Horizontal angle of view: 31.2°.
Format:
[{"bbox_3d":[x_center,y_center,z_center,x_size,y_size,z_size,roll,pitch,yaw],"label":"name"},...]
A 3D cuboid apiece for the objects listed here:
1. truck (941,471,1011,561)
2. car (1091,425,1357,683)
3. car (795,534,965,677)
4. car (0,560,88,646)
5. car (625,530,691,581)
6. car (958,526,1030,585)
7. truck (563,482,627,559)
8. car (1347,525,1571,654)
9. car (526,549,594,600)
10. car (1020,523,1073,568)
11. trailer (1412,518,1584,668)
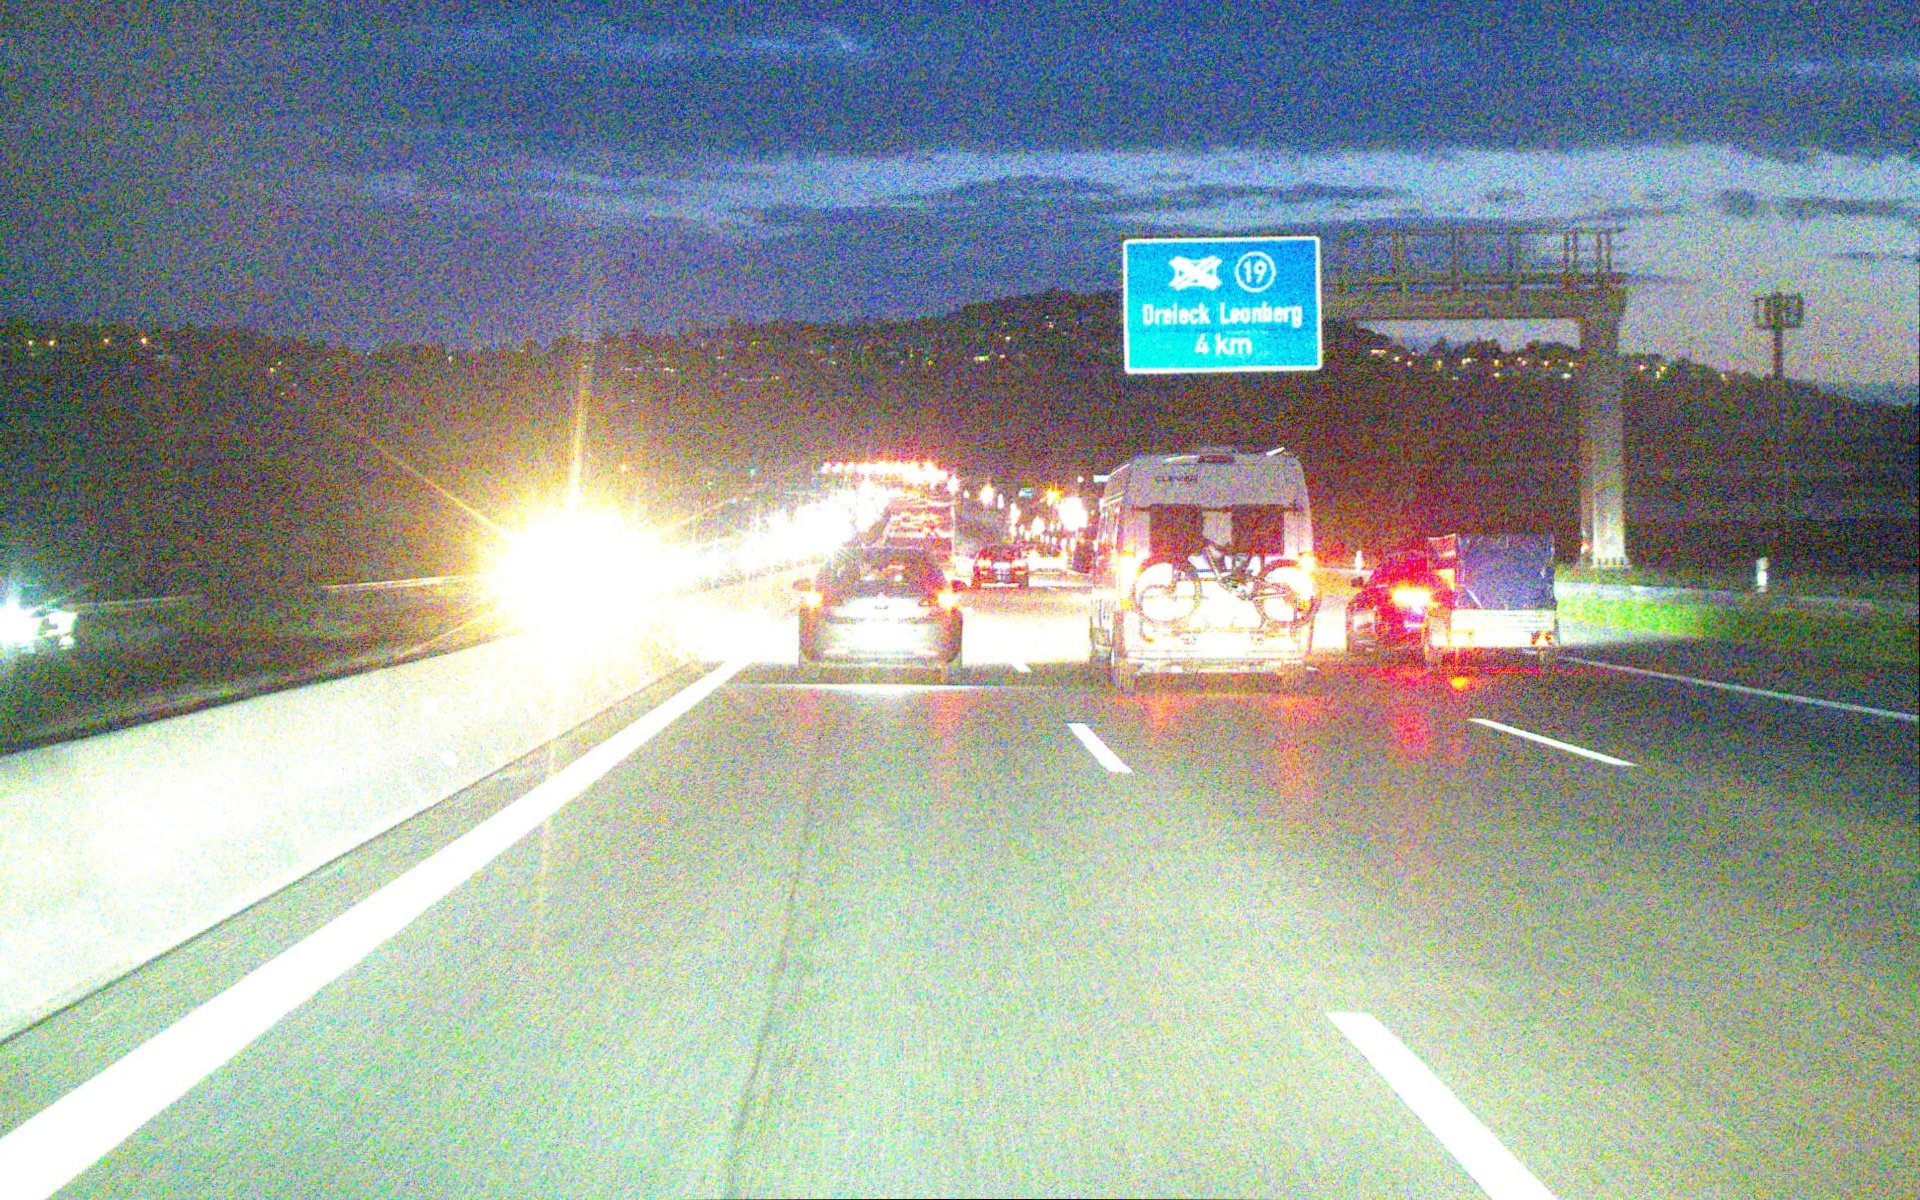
[{"bbox_3d":[0.693,-3.785,156.356,2.781,3.942,7.994,-1,1,-2],"label":"truck"},{"bbox_3d":[2.738,-0.542,37.075,2.351,2.526,5.701,-1,2,0],"label":"car"},{"bbox_3d":[-0.855,0.020,38.147,1.793,1.464,3.773,0,2,0],"label":"car"},{"bbox_3d":[-17.743,0.060,63.559,1.993,1.473,5.045,-3,1,-1],"label":"car"},{"bbox_3d":[-10.007,-1.488,114.138,1.812,1.637,4.158,-1,1,0],"label":"car"},{"bbox_3d":[1.130,-1.533,116.329,2.351,1.907,4.723,-1,1,0],"label":"car"},{"bbox_3d":[-19.335,-4.201,182.381,2.781,3.942,7.994,-1,1,-2],"label":"truck"},{"bbox_3d":[6.342,-0.176,44.237,2.163,1.558,4.723,0,1,0],"label":"car"},{"bbox_3d":[-13.455,-0.879,115.844,1.812,1.637,4.158,-1,1,0],"label":"car"},{"bbox_3d":[4.120,-2.622,164.736,2.351,2.068,4.723,-1,2,0],"label":"car"},{"bbox_3d":[6.318,-0.111,40.602,1.566,1.687,2.821,-1,1,0],"label":"trailer"}]
